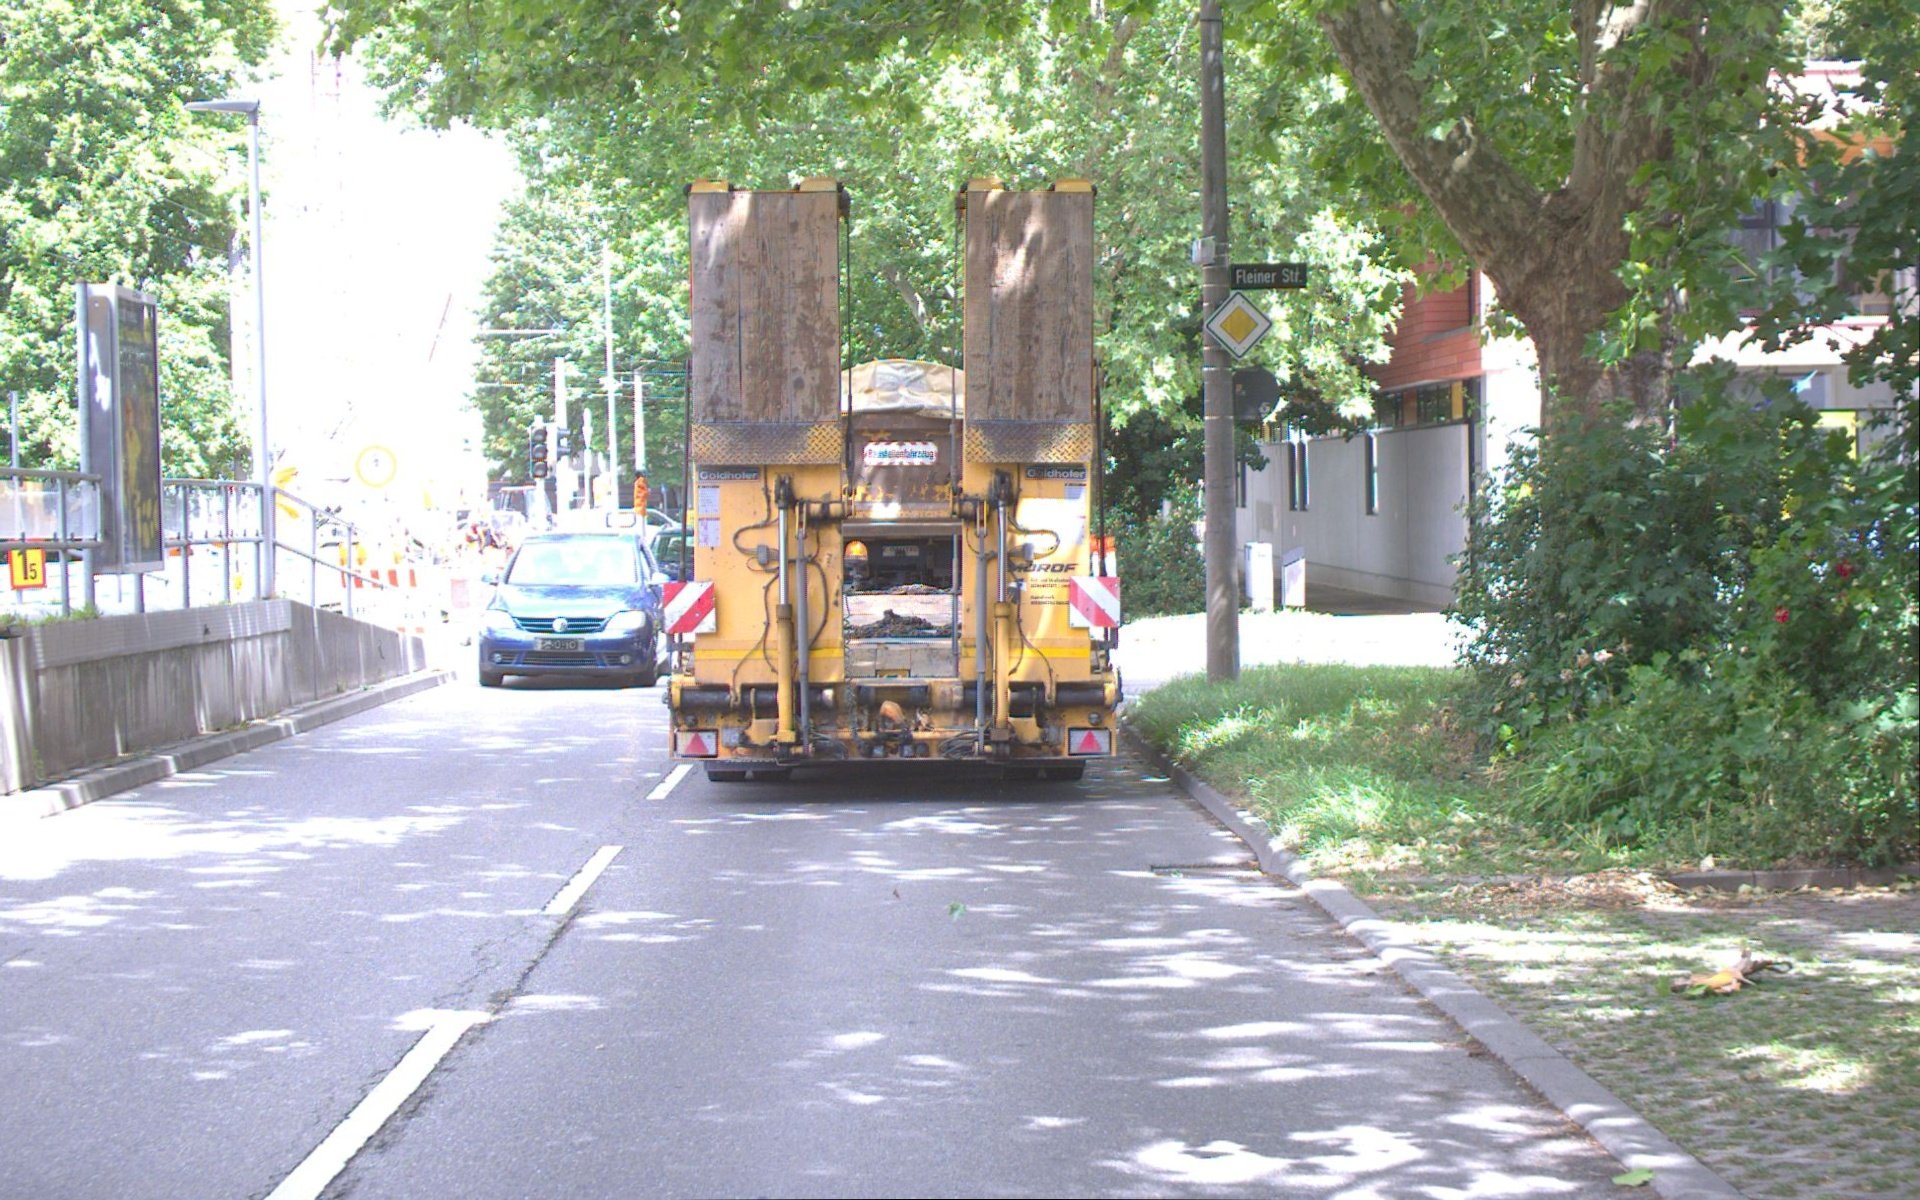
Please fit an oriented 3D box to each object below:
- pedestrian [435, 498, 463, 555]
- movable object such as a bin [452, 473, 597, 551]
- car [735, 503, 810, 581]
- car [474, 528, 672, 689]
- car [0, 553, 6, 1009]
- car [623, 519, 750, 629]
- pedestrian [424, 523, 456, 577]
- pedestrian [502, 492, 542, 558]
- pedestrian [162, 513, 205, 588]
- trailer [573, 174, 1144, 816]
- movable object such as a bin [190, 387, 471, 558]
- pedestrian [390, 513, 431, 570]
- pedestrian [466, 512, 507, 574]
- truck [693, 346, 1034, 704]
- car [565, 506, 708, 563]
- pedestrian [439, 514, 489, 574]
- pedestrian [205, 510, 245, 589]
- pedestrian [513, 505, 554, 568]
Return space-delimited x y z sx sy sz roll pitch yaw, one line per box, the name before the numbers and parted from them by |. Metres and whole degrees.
pedestrian | -16.765 -2.414 112.709 0.834 1.860 0.888 0 1 -13
movable object such as a bin | -14.803 -2.987 116.812 4.373 2.620 2.217 1 1 26
car | -4.578 -1.385 83.974 1.753 1.834 4.646 -1 0 -3
car | -3.932 0.056 35.410 1.696 1.559 3.861 0 1 -1
car | -2.810 0.671 4.869 1.762 1.476 4.577 1 1 -2
car | -4.219 -0.426 53.576 1.753 1.627 4.119 1 1 -2
pedestrian | -15.804 -1.521 104.476 0.885 1.639 0.837 0 1 -14
pedestrian | -12.584 -2.151 98.689 0.885 1.860 0.837 0 1 -29
pedestrian | -16.890 -1.071 74.775 0.732 1.620 0.867 0 1 -1
trailer | -0.698 -0.694 24.560 3.154 3.540 11.098 0 1 -1
movable object such as a bin | -20.561 -4.113 112.142 9.215 5.396 2.660 1 1 26
pedestrian | -15.852 -1.696 99.197 0.885 1.639 0.900 -1 1 -32
pedestrian | -13.367 -1.609 97.048 0.886 1.754 0.836 1 1 19
truck | -0.894 -0.737 34.073 2.989 3.124 7.888 0 1 -1
car | -12.141 -2.456 128.864 5.088 2.095 1.977 0 1 -15
pedestrian | -14.268 -1.616 98.869 0.888 1.709 1.108 1 2 45
pedestrian | -16.064 -1.109 75.154 0.699 1.712 0.867 0 1 -1
pedestrian | -12.547 -1.870 101.154 0.887 1.860 0.836 1 1 28
